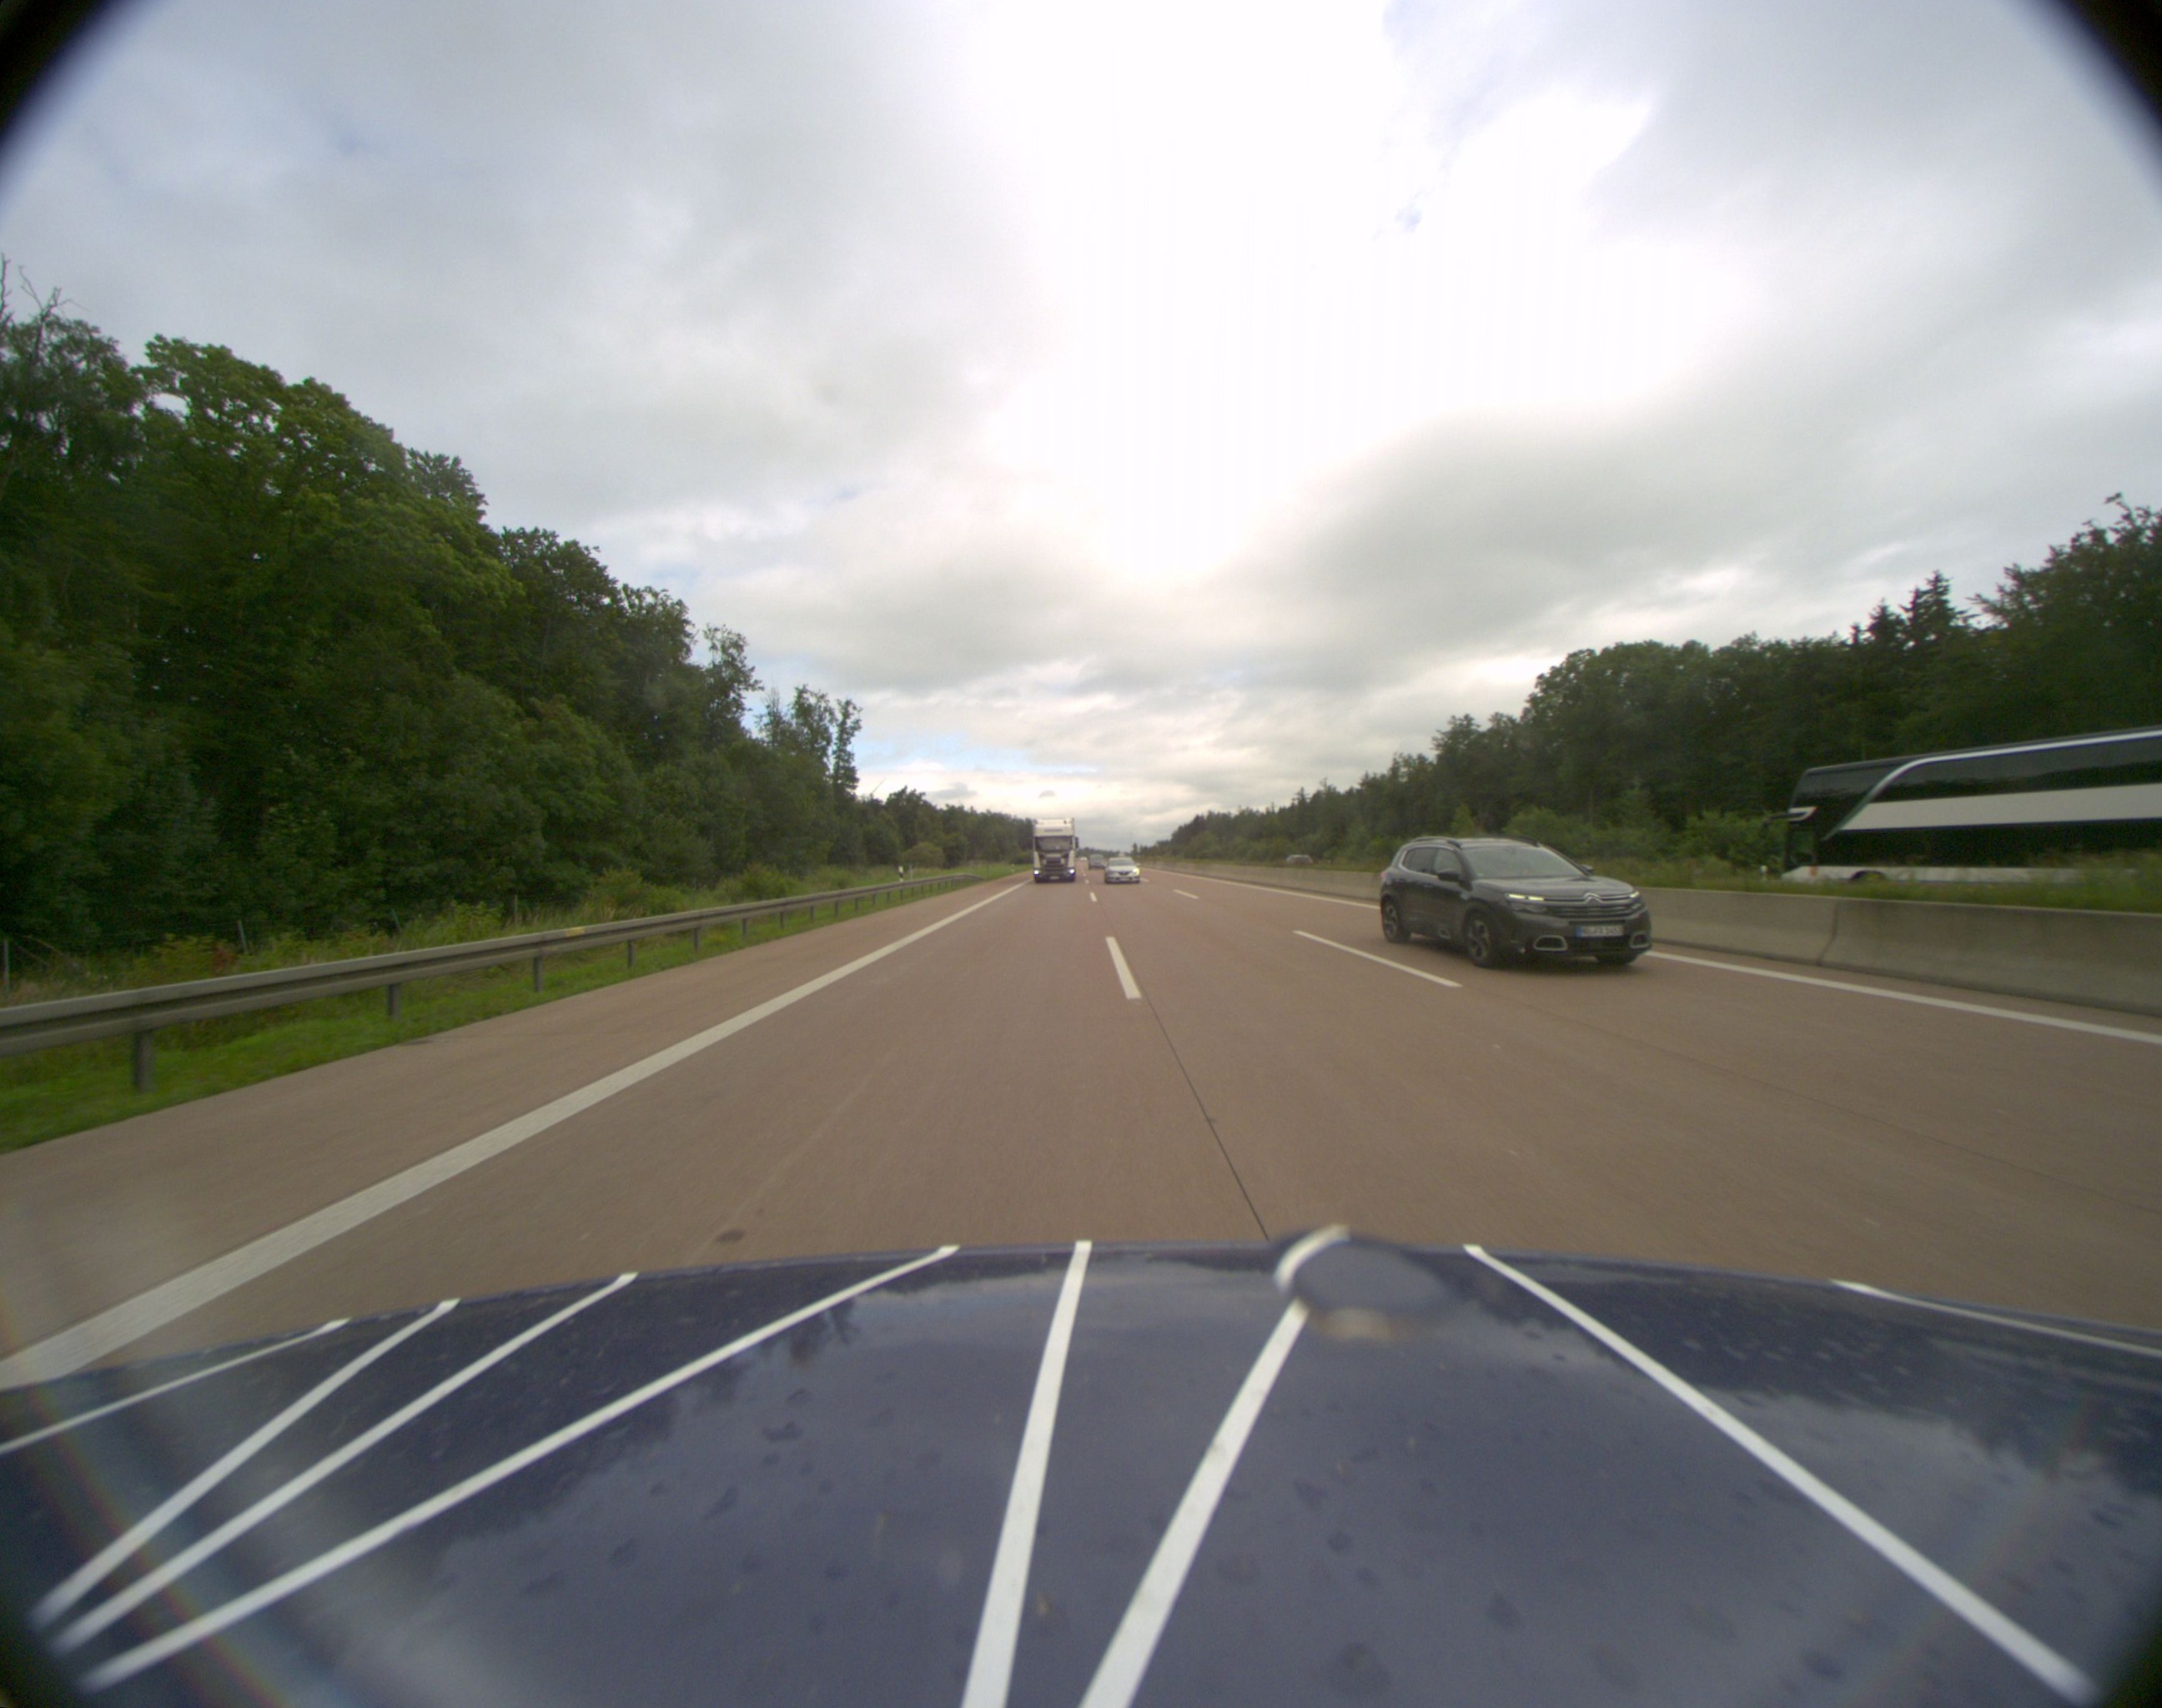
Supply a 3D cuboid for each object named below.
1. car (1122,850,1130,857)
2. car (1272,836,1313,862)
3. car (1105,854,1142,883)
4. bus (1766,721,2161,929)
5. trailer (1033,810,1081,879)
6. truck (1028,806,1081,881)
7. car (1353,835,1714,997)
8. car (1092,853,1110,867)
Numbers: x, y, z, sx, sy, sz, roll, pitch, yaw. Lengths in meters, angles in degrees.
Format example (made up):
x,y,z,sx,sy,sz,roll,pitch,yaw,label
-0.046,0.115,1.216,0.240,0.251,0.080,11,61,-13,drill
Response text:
x,y,z,sx,sy,sz,roll,pitch,yaw,label
14.426,-0.135,243.569,2.078,2.129,7.488,-2,0,1,car
16.552,-0.405,59.631,1.998,1.823,4.165,-3,0,0,car
2.347,0.786,42.477,1.923,1.515,4.001,-2,0,2,car
21.611,-0.588,14.980,3.056,3.866,14.360,-2,0,-1,bus
-1.541,-0.602,54.547,2.929,4.269,13.612,-2,0,0,trailer
-1.529,-0.608,46.654,2.929,4.269,5.334,-2,0,0,truck
5.811,0.657,10.802,1.998,1.689,5.252,-2,0,0,car
2.372,0.704,90.028,1.986,1.499,4.052,-2,0,0,car
